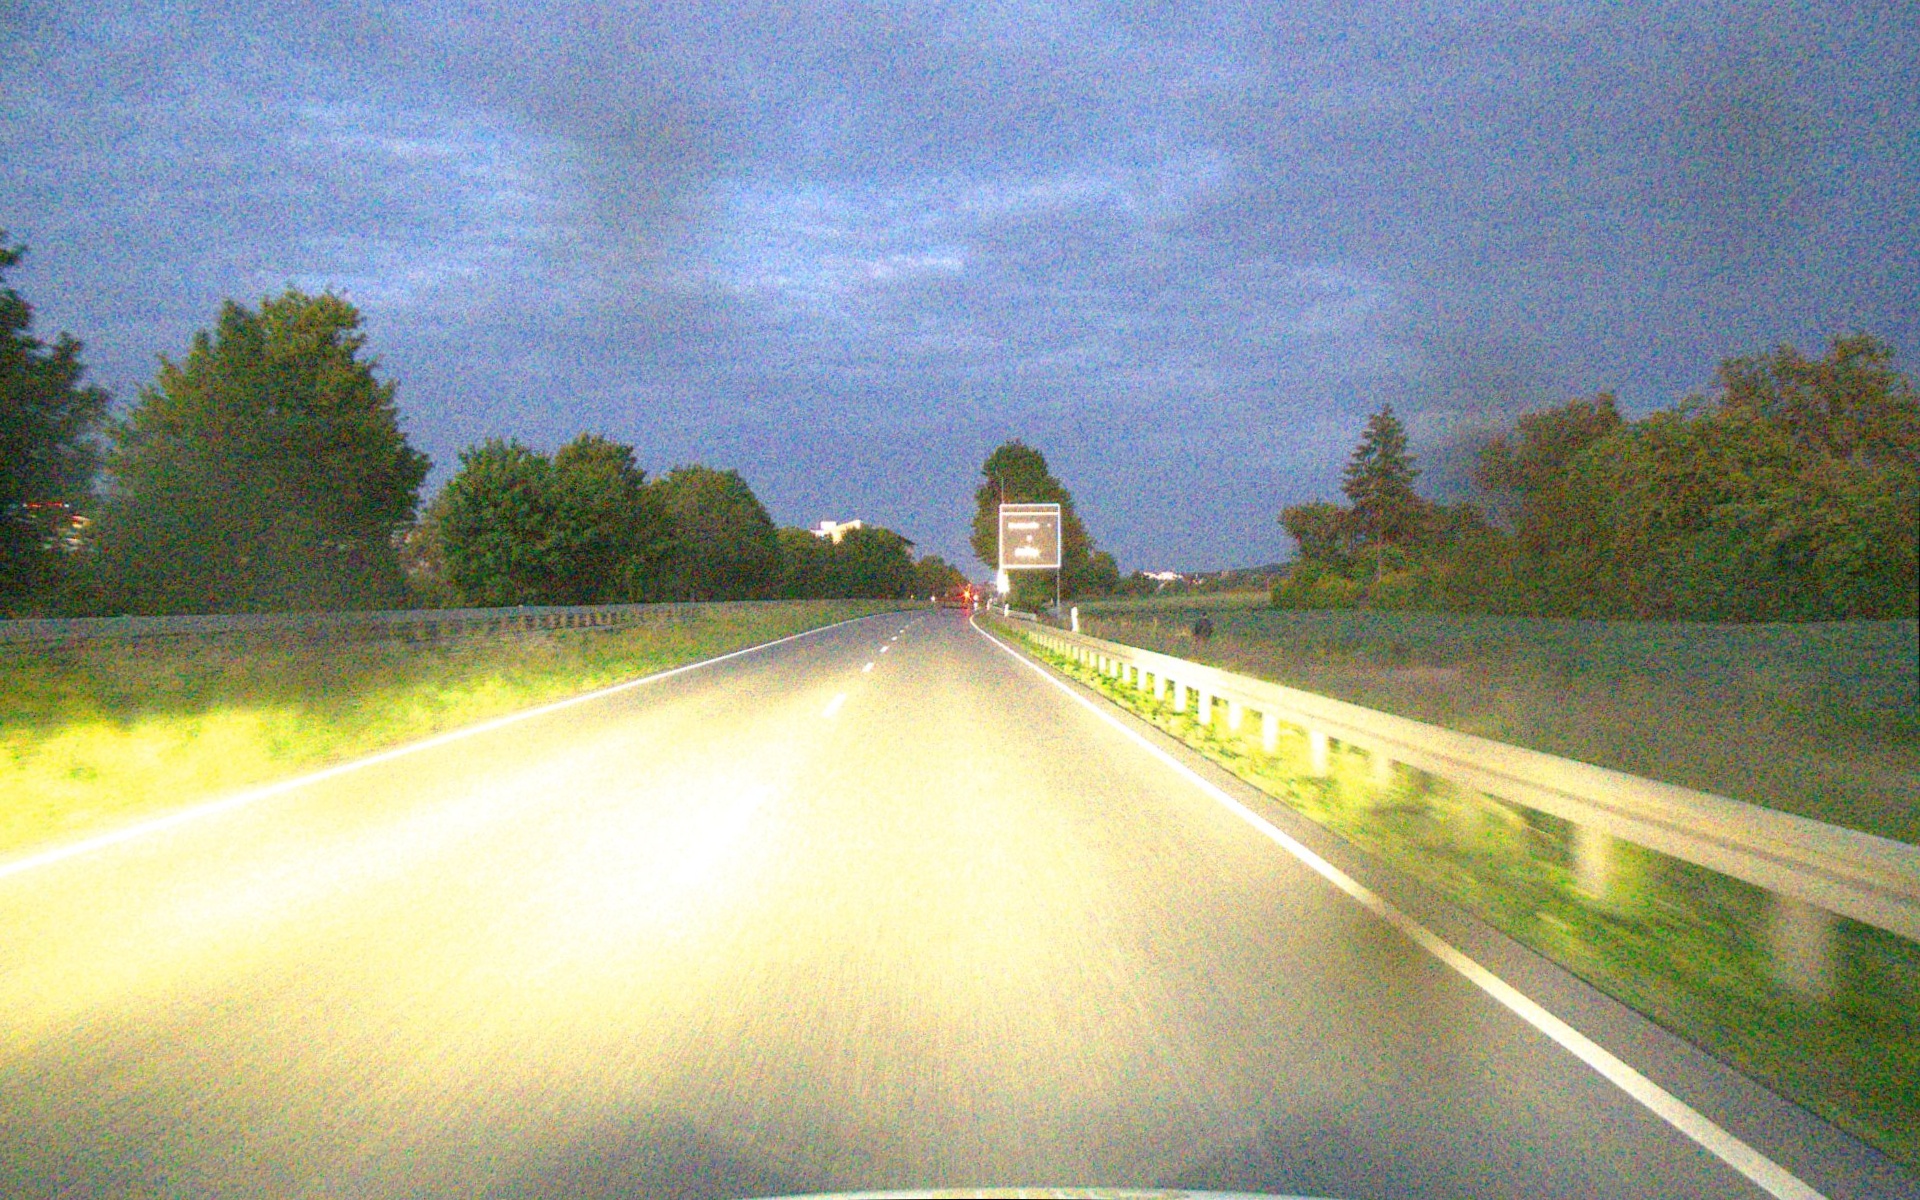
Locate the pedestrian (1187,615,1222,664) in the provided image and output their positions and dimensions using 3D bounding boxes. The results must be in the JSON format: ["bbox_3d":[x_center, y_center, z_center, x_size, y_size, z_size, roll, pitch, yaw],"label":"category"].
[{"bbox_3d":[8.591,1.384,58.213,1.040,1.672,1.118,1,0,-1],"label":"pedestrian"}]
